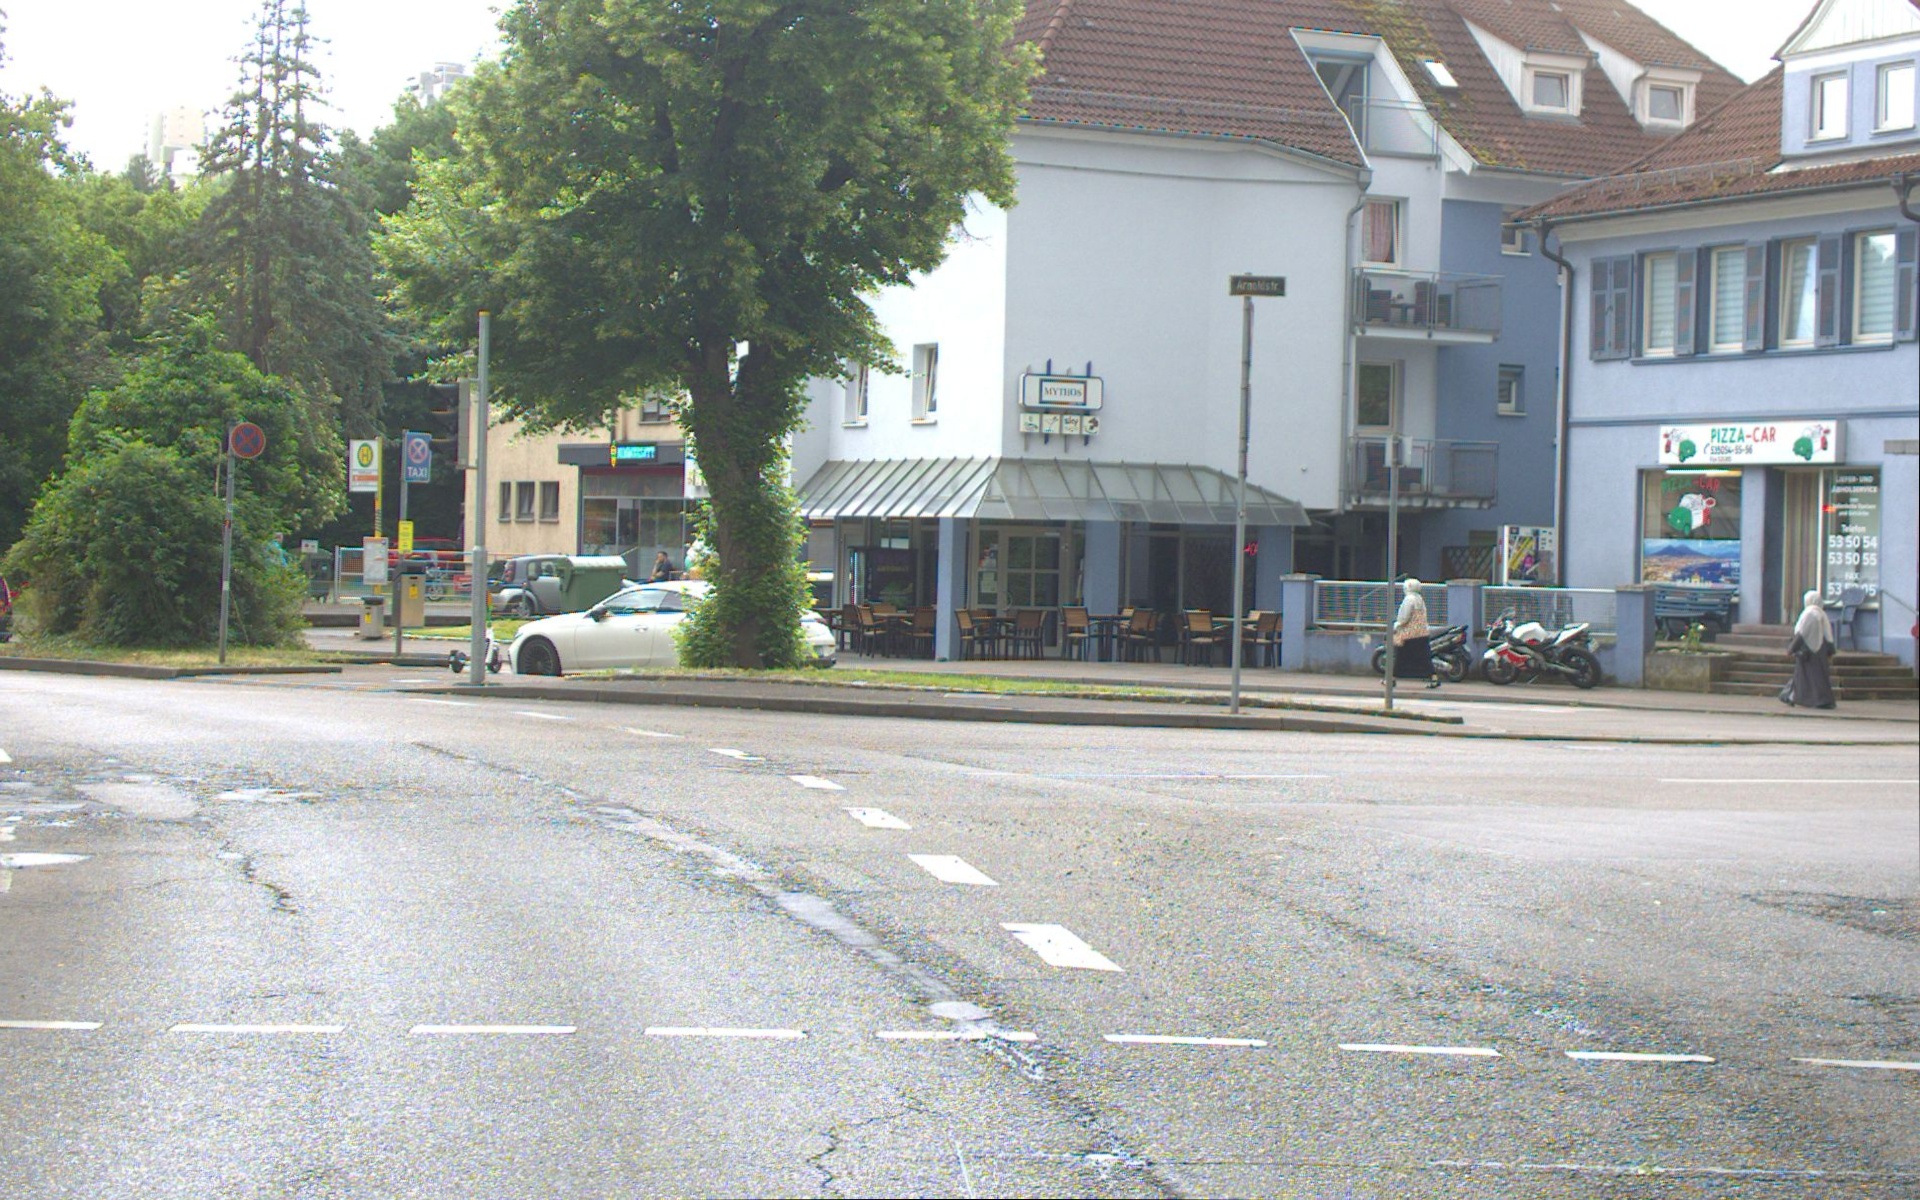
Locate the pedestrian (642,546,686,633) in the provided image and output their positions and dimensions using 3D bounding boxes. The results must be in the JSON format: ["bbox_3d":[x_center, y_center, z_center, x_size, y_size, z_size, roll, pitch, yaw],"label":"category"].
[{"bbox_3d":[-6.963,-0.246,80.750,0.837,2.007,1.056,1,1,-14],"label":"pedestrian"}]

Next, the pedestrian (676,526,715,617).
[{"bbox_3d":[-4.554,-0.495,59.196,0.543,1.554,0.467,0,0,13],"label":"pedestrian"}]

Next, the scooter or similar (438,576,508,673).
[{"bbox_3d":[-6.030,0.288,42.615,0.442,1.171,1.437,1,1,9],"label":"scooter or similar"}]

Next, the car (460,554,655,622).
[{"bbox_3d":[-8.856,-0.259,75.629,3.936,1.437,1.753,1,1,-20],"label":"car"}]

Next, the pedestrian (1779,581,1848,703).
[{"bbox_3d":[11.088,0.538,44.653,0.695,1.554,0.665,1,0,31],"label":"pedestrian"}]

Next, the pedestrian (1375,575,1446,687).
[{"bbox_3d":[6.328,0.430,48.270,0.732,1.554,0.767,1,0,31],"label":"pedestrian"}]

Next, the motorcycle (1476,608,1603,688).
[{"bbox_3d":[8.149,0.669,48.363,1.628,1.085,0.626,1,1,32],"label":"motorcycle"}]

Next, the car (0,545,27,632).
[{"bbox_3d":[-16.420,-0.210,53.520,3.322,1.347,1.778,1,1,27],"label":"car"}]

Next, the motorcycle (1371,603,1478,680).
[{"bbox_3d":[6.774,0.598,50.132,1.458,1.085,0.523,1,1,35],"label":"motorcycle"}]

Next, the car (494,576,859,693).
[{"bbox_3d":[-3.804,0.427,45.760,4.709,1.405,1.898,2,1,35],"label":"car"}]
